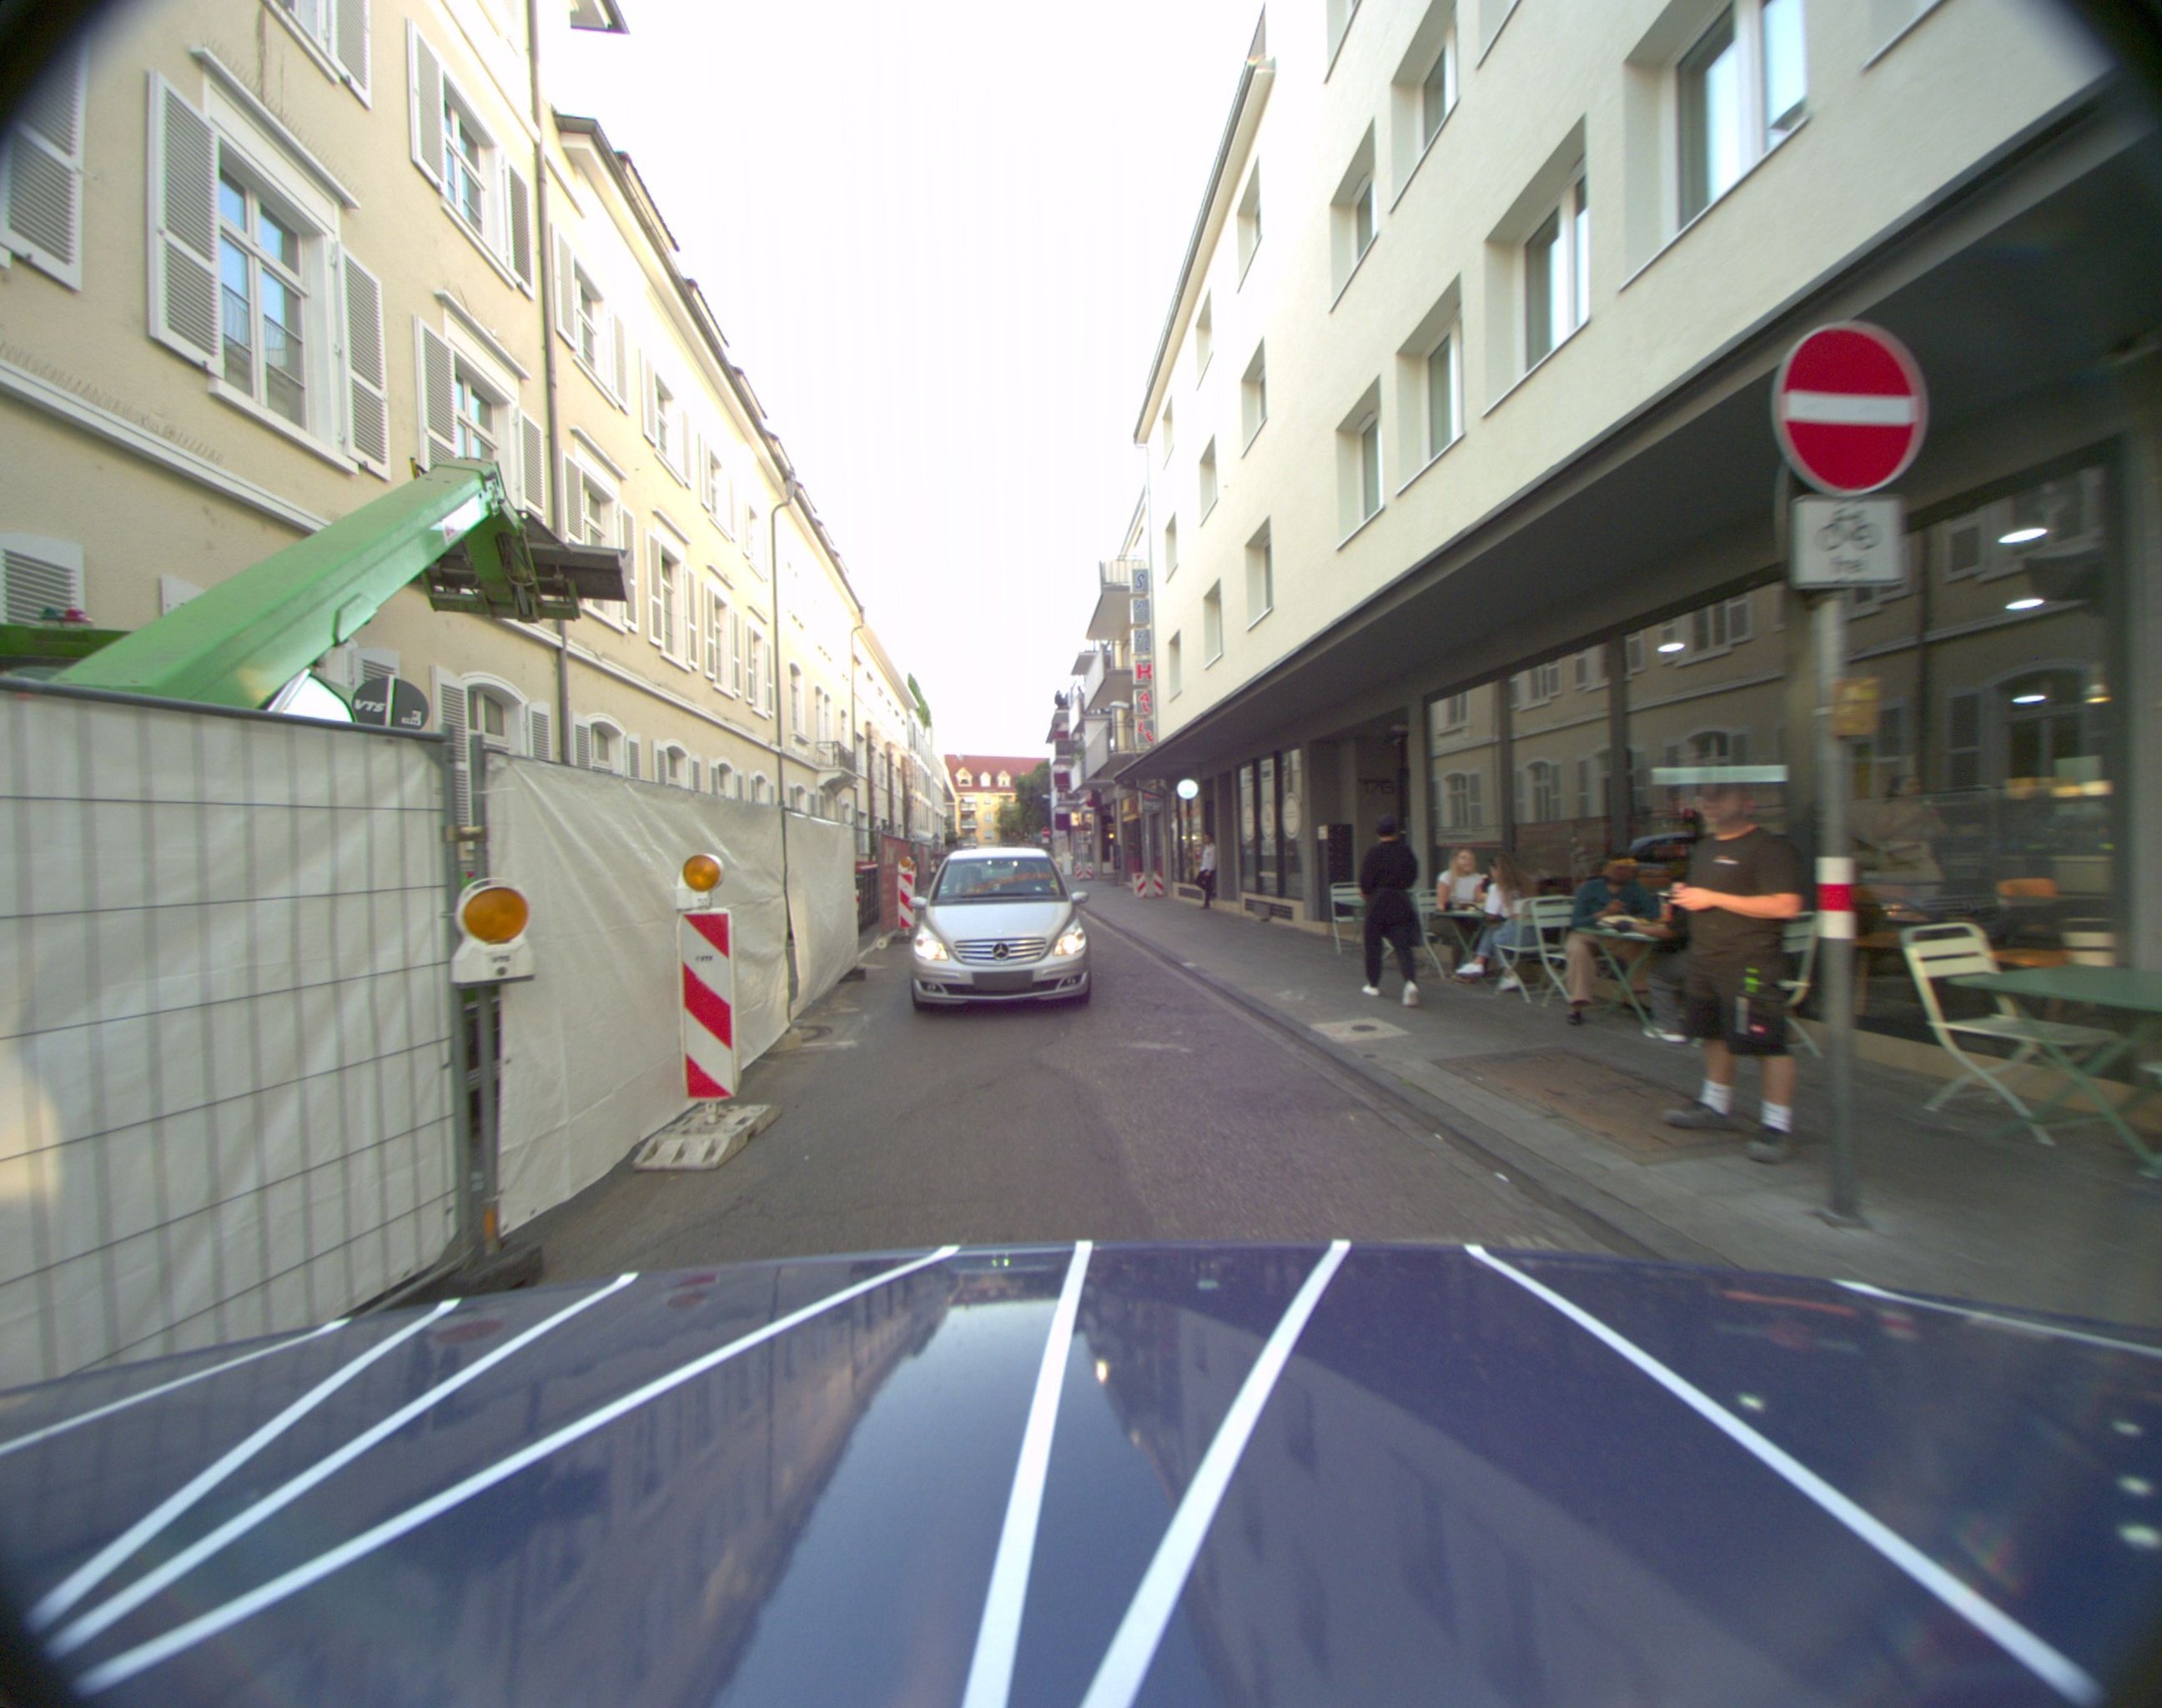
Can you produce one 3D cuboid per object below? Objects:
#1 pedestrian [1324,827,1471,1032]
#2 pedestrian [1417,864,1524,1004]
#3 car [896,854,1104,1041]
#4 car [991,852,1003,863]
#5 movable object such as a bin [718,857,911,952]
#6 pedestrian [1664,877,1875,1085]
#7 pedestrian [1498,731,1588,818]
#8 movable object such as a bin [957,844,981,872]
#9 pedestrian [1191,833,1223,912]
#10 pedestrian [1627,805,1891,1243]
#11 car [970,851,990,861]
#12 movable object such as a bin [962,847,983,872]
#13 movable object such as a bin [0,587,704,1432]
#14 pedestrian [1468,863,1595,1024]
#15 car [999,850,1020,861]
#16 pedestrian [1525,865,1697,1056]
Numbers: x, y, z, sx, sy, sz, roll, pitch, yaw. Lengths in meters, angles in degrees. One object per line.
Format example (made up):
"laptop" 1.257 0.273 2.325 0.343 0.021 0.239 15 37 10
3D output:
"pedestrian" 2.803 0.626 6.805 0.799 1.658 0.901 -4 1 -8
"pedestrian" 3.800 0.751 7.457 0.574 1.268 0.713 -4 1 -6
"car" -0.925 0.846 8.851 1.805 1.607 4.271 -1 -1 -6
"car" -11.216 0.481 101.336 1.540 1.317 3.351 -2 1 -6
"movable object such as a bin" -5.922 0.982 18.286 2.744 1.629 7.547 -2 0 -7
"pedestrian" 4.145 0.723 4.620 0.574 1.107 0.713 -4 1 -6
"pedestrian" 13.075 -2.128 21.493 1.994 2.002 4.008 -1 0 32
"movable object such as a bin" -11.420 0.412 77.857 2.022 2.608 5.748 -4 0 -5
"pedestrian" 2.958 0.428 17.866 0.532 1.824 0.562 -2 1 -12
"pedestrian" 2.919 0.648 3.300 0.507 1.658 0.686 -4 2 -30
"car" -15.859 0.300 119.382 1.750 1.395 4.236 -1 2 -28
"movable object such as a bin" -12.581 0.593 88.562 2.022 2.608 5.747 -4 1 -5
"movable object such as a bin" -4.596 0.536 4.664 2.613 2.822 4.447 -1 0 -6
"pedestrian" 3.855 0.732 6.549 0.574 1.268 0.713 -4 1 -6
"car" -11.483 0.223 121.806 1.830 1.460 4.318 -1 2 -28
"pedestrian" 3.908 0.743 5.649 0.704 1.268 0.713 -4 1 -6
